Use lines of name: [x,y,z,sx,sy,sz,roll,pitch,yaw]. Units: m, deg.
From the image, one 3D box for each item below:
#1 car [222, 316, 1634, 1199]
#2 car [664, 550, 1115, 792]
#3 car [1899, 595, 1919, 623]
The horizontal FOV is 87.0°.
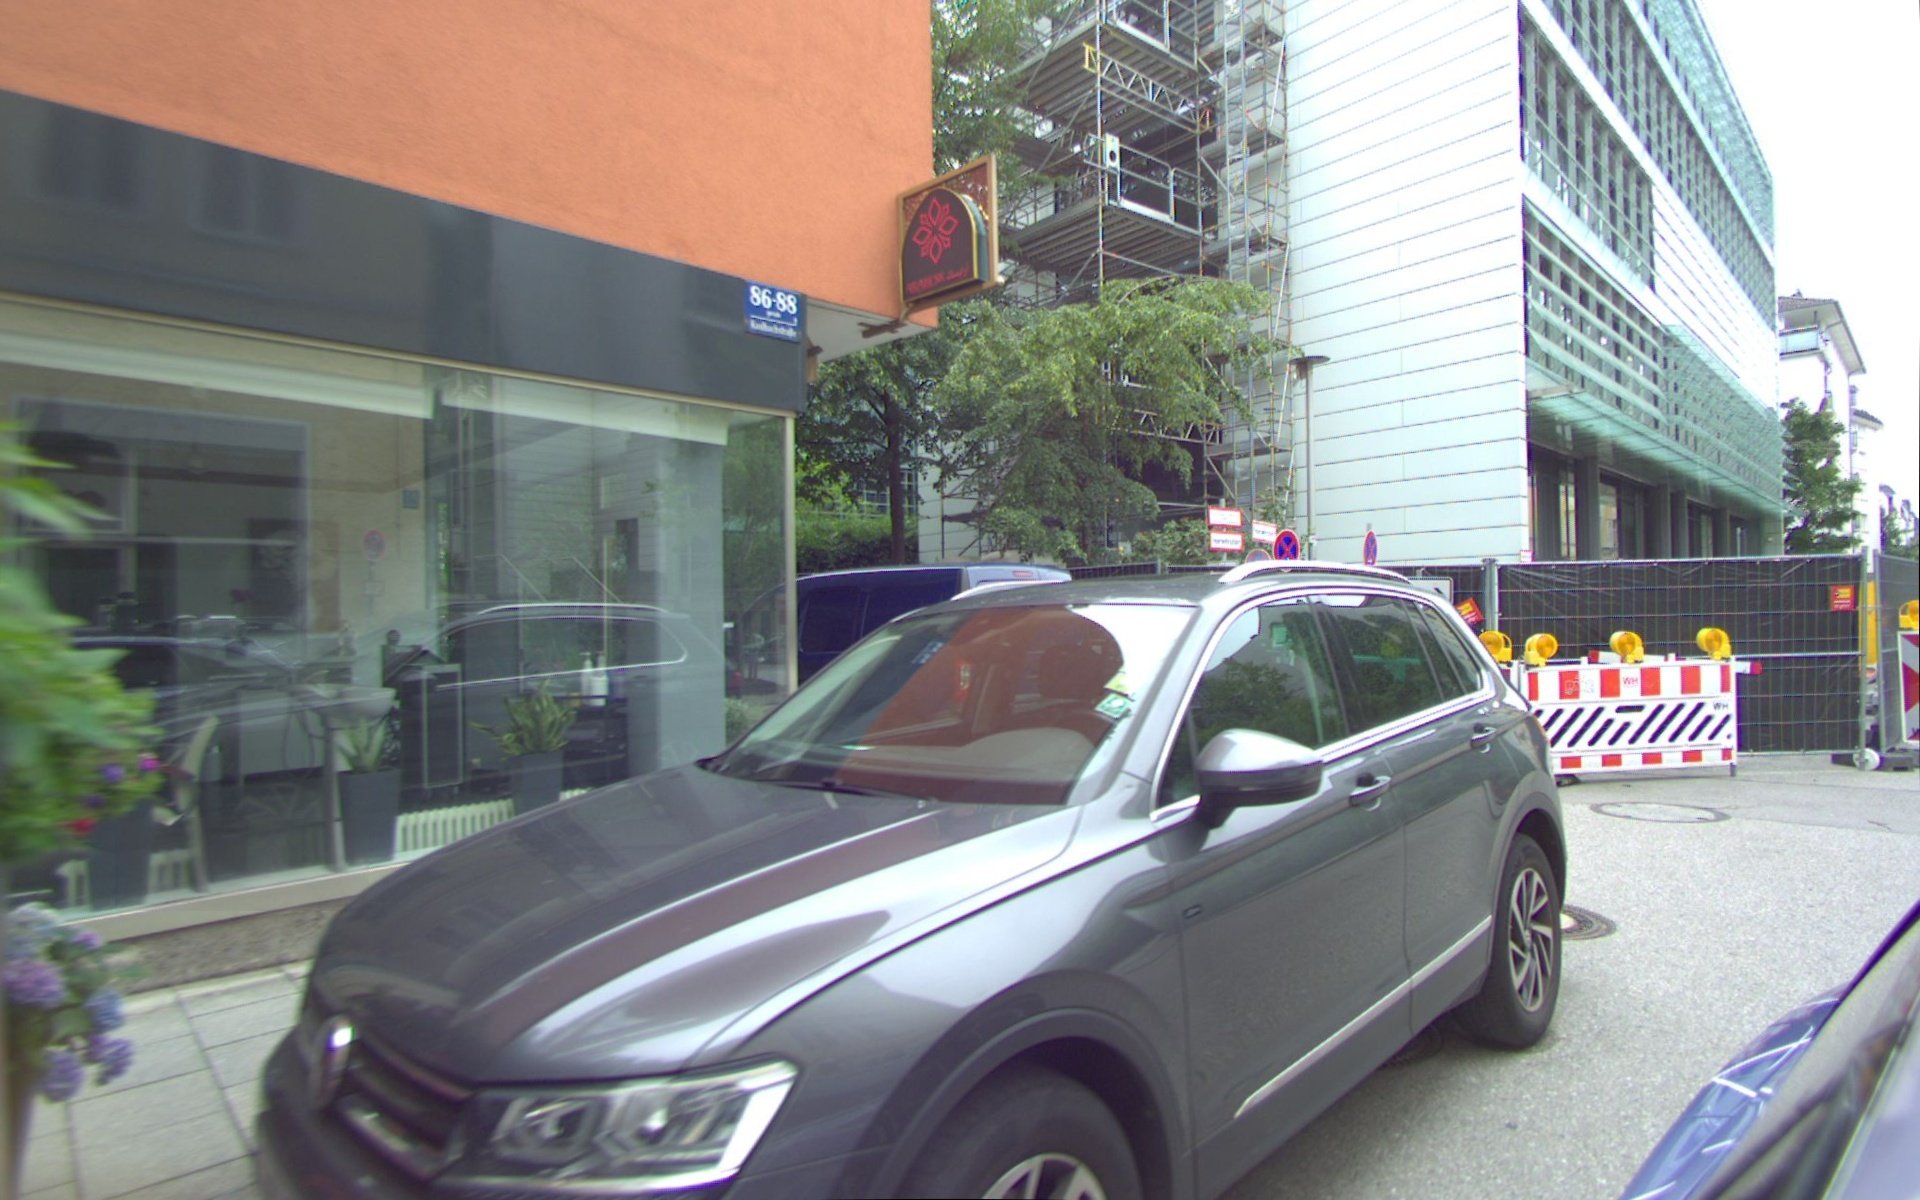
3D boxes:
car: [0.449,0.586,3.189,4.315,1.732,1.825,0,-2,-43]
car: [-0.881,0.513,9.539,1.810,1.742,4.464,0,0,-44]
car: [50.206,0.437,52.666,1.805,1.416,3.935,-1,-1,45]
